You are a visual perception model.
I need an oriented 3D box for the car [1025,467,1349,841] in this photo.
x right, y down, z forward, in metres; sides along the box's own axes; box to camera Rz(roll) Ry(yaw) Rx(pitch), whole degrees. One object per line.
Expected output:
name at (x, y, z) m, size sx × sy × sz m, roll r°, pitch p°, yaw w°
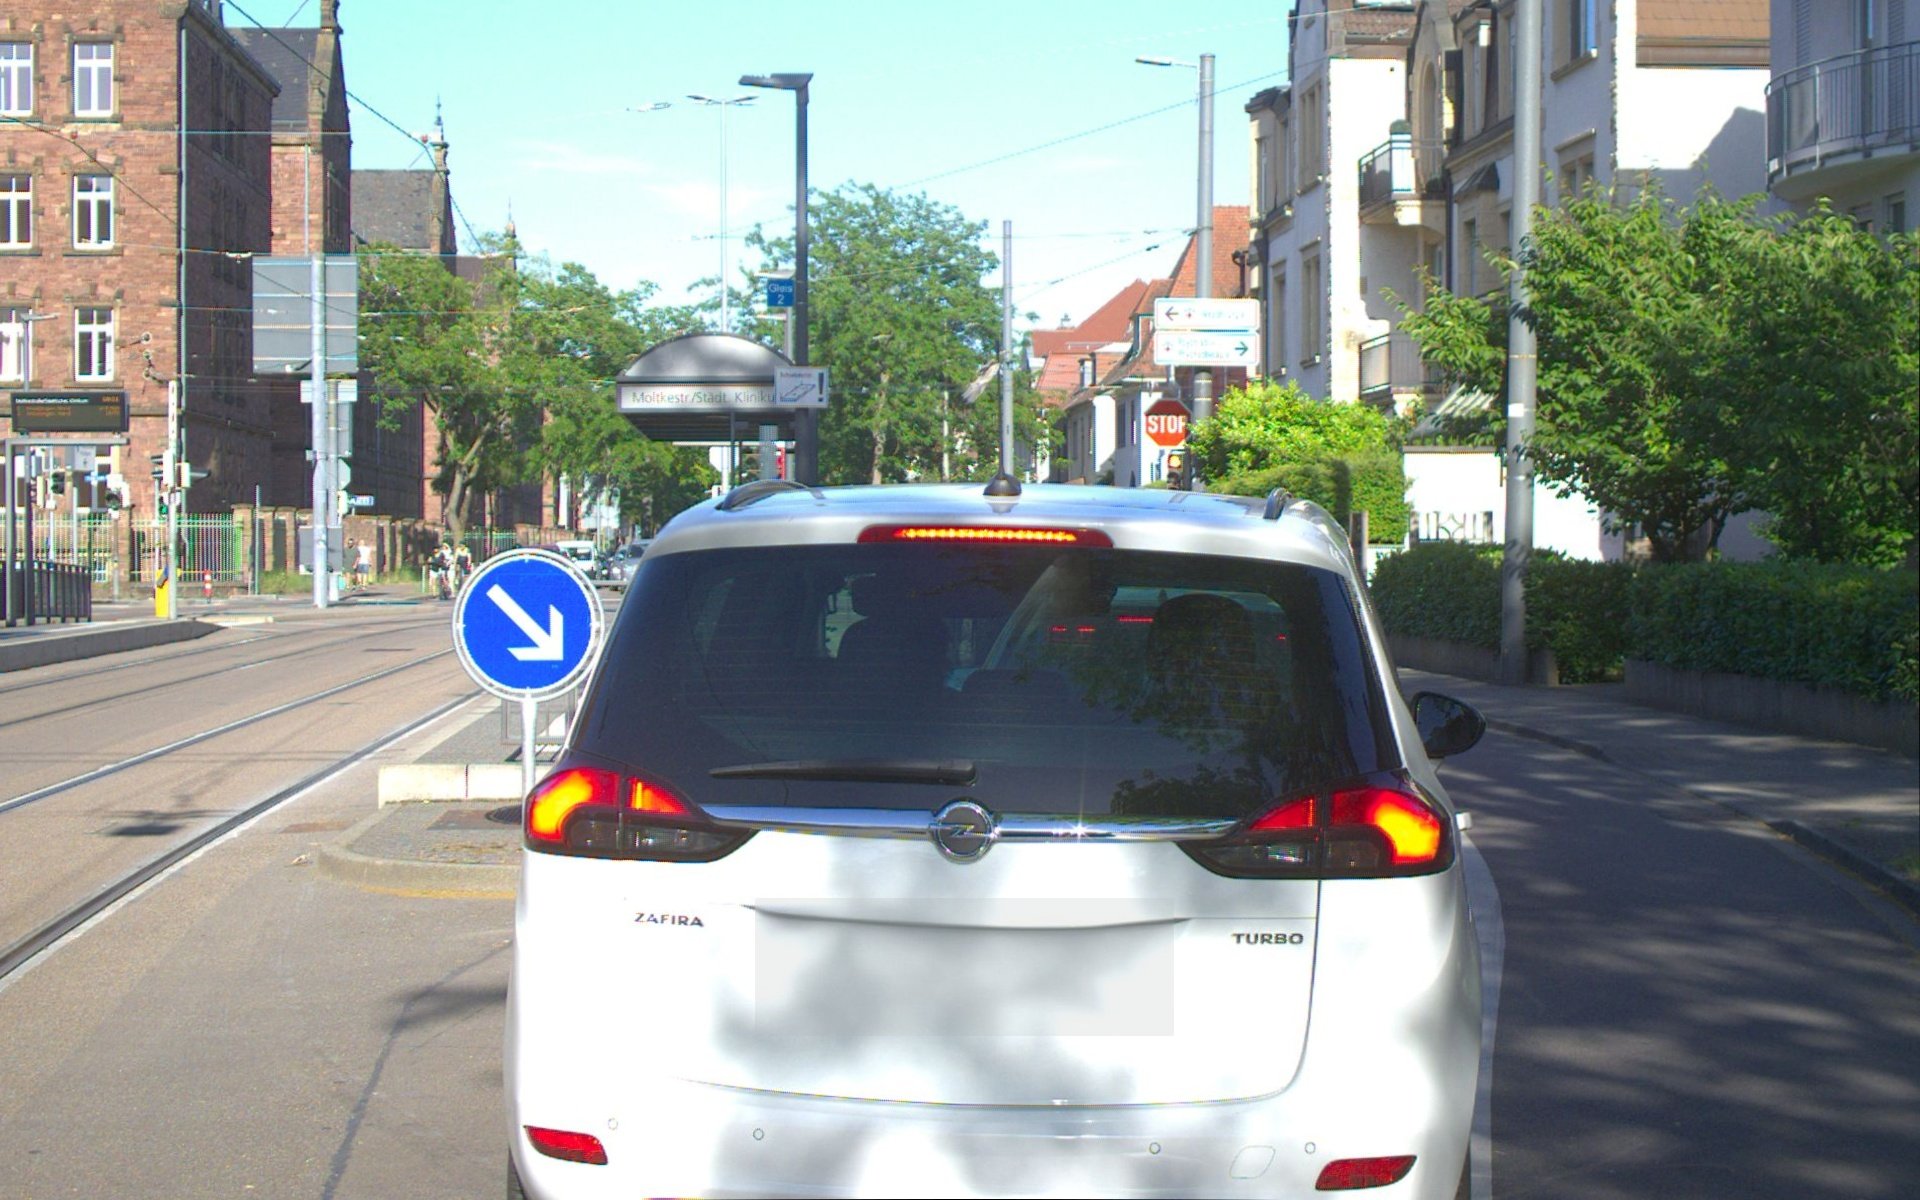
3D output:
car at (1.443, 0.261, 20.514) m, size 1.709 × 2.007 × 3.905 m, roll 0°, pitch 1°, yaw 7°

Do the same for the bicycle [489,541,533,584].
bicycle at (-13.771, -1.155, 105.488) m, size 1.148 × 1.292 × 2.861 m, roll 0°, pitch 1°, yaw -4°

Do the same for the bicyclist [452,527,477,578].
bicyclist at (-15.714, -1.509, 109.046) m, size 0.702 × 1.601 × 0.657 m, roll 0°, pitch 1°, yaw -3°

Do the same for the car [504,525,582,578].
car at (-13.771, -1.604, 113.723) m, size 1.993 × 1.716 × 4.000 m, roll 0°, pitch 1°, yaw 2°

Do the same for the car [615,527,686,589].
car at (-9.647, -1.303, 107.338) m, size 1.993 × 1.907 × 4.000 m, roll 0°, pitch 0°, yaw -2°

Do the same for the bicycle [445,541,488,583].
bicycle at (-15.694, -1.217, 109.373) m, size 1.148 × 1.292 × 2.861 m, roll 0°, pitch 1°, yaw -4°

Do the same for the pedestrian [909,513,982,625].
pedestrian at (-0.269, -0.573, 63.046) m, size 1.155 × 2.007 × 1.120 m, roll -2°, pitch 1°, yaw -7°

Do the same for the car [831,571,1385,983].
car at (0.763, 0.620, 14.376) m, size 1.994 × 1.437 × 3.999 m, roll 0°, pitch 1°, yaw 7°

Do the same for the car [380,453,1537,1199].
car at (0.175, 0.599, 7.711) m, size 1.893 × 1.605 × 4.228 m, roll 0°, pitch -1°, yaw 5°

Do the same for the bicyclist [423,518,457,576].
bicyclist at (-15.559, -1.596, 102.885) m, size 0.943 × 1.728 × 0.861 m, roll 0°, pitch 1°, yaw -3°

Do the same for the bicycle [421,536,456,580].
bicycle at (-15.556, -1.266, 102.601) m, size 0.821 × 1.292 × 2.678 m, roll 0°, pitch 1°, yaw -4°

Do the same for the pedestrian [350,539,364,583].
pedestrian at (-19.758, -1.291, 112.643) m, size 0.361 × 1.433 × 0.549 m, roll 0°, pitch 1°, yaw -1°

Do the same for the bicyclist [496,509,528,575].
bicyclist at (-13.739, -1.773, 105.476) m, size 0.950 × 2.007 × 0.824 m, roll 0°, pitch 1°, yaw -6°
